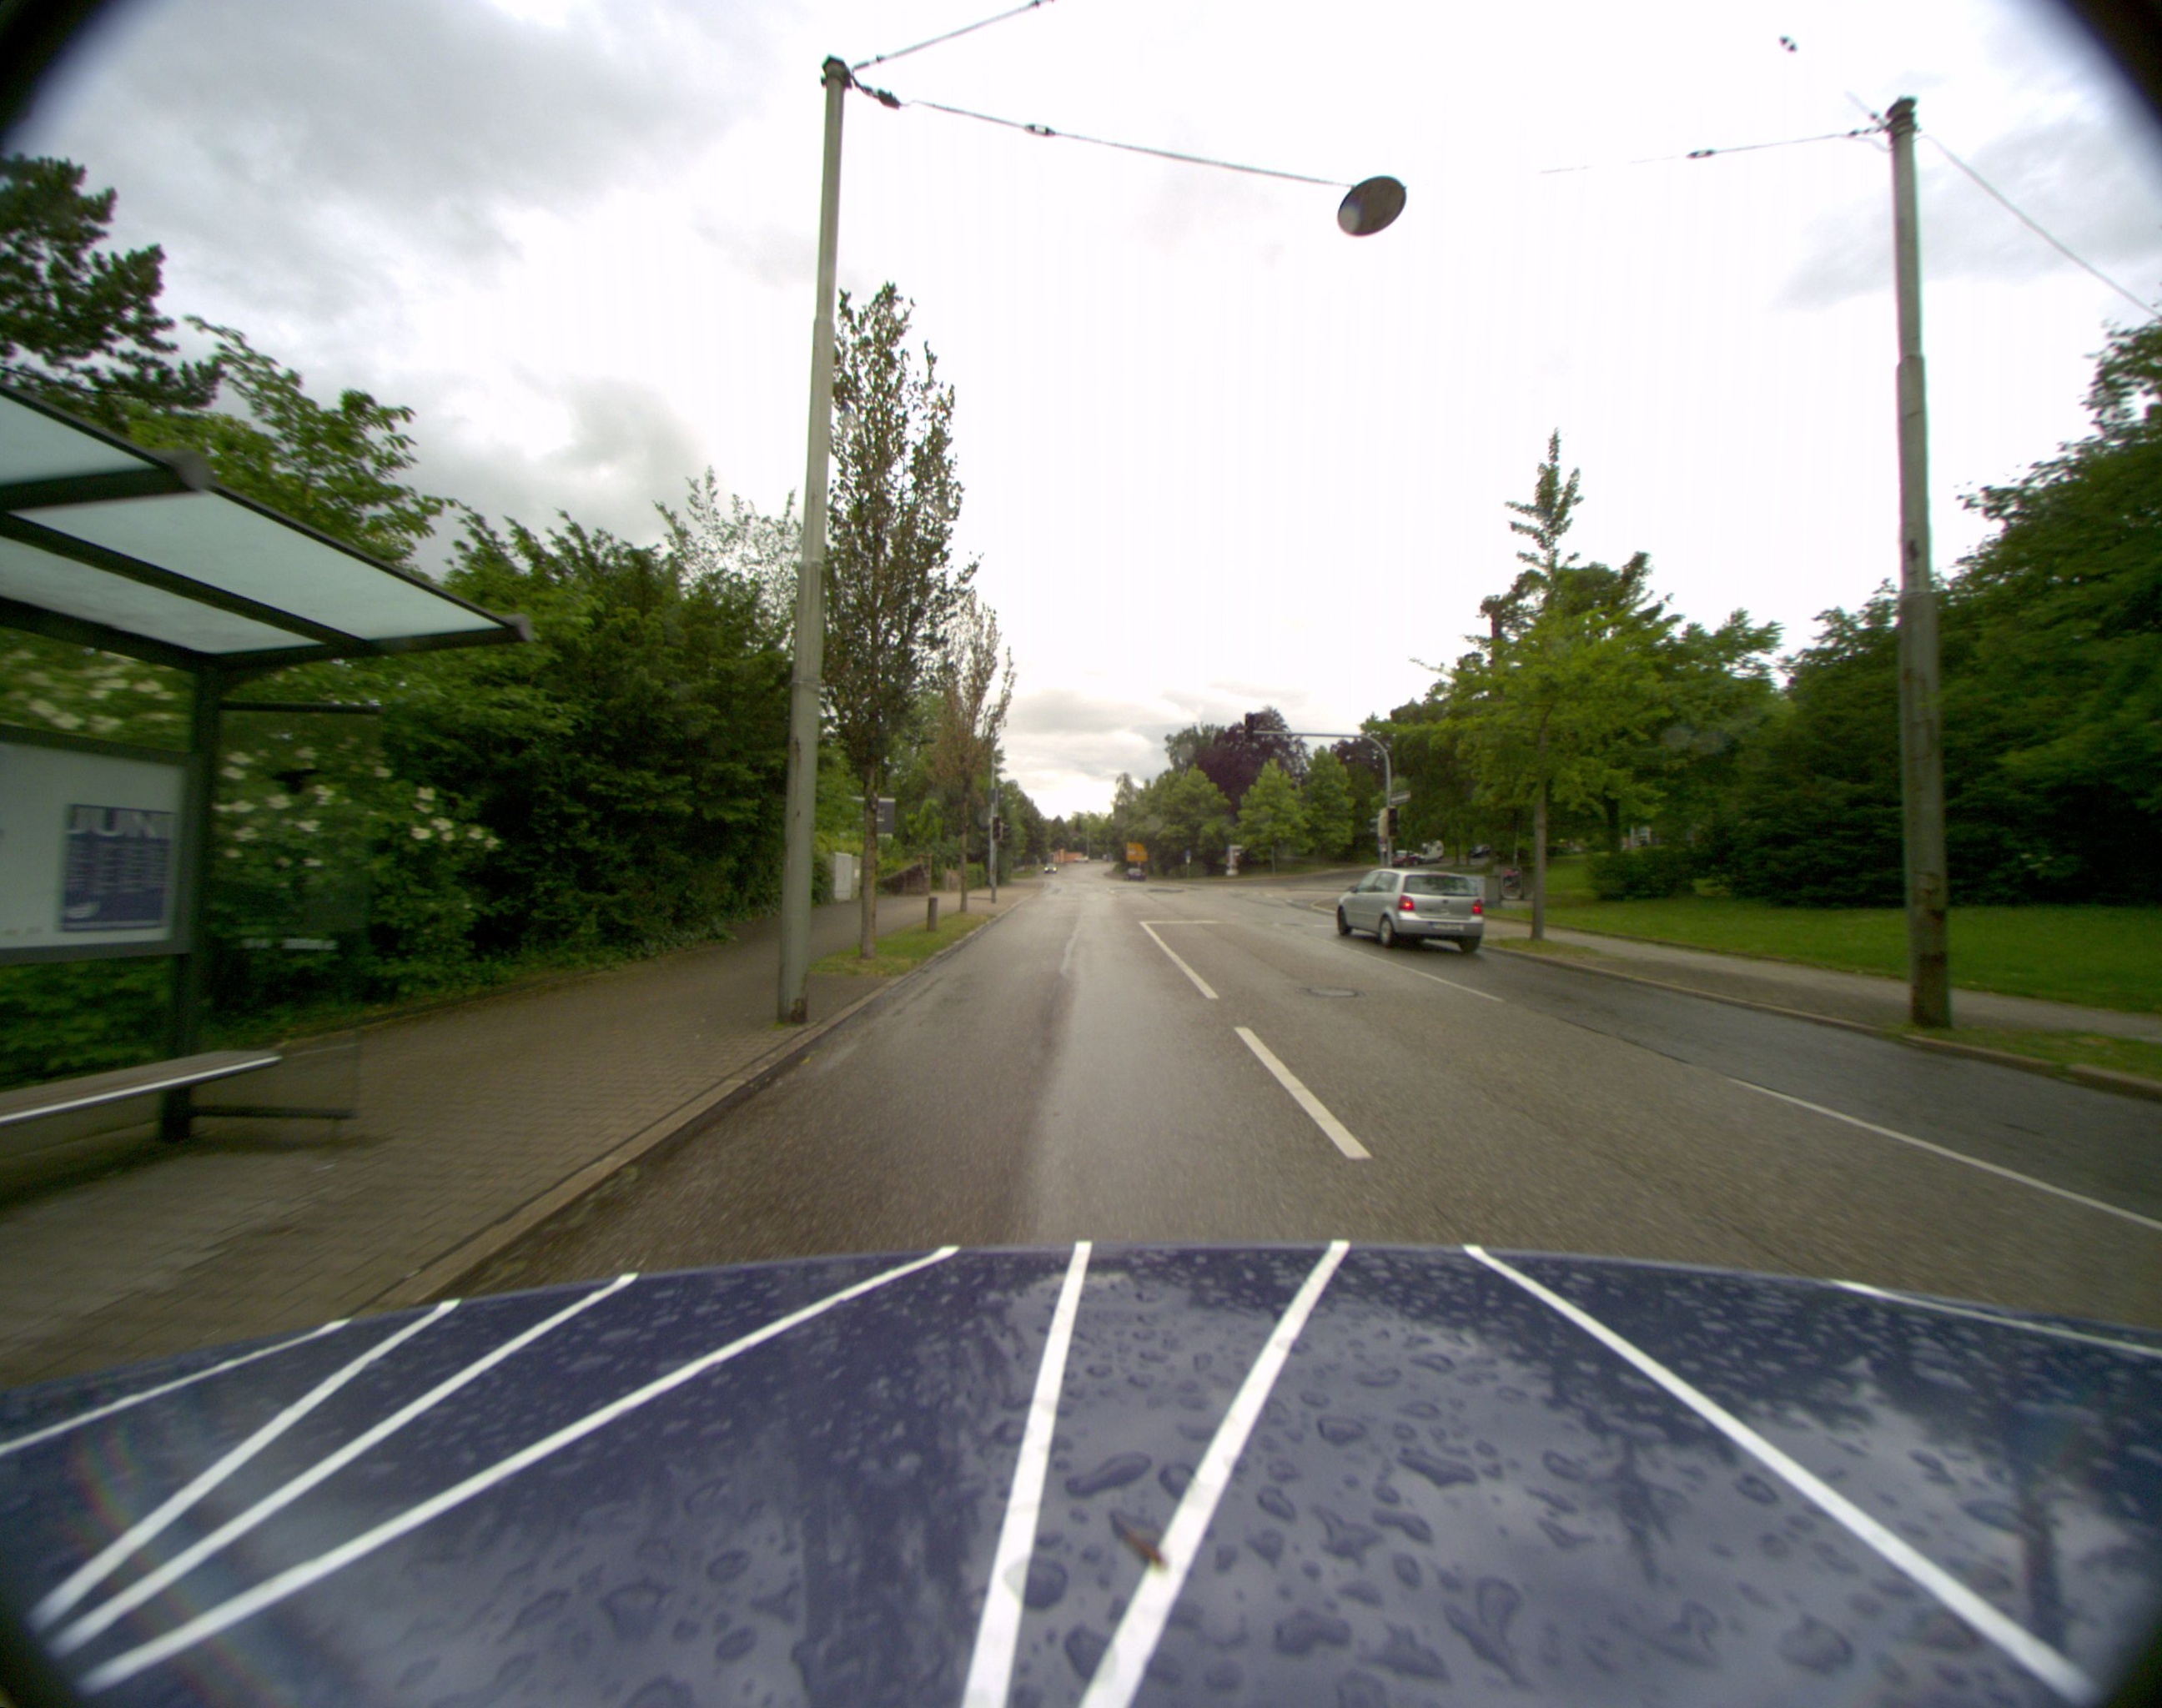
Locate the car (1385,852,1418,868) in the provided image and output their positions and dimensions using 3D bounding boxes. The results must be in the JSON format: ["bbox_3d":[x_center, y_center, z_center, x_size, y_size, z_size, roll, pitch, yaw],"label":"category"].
[{"bbox_3d":[34.317,0.630,81.287,1.972,1.658,4.009,-2,-1,44],"label":"car"}]

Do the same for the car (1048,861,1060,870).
[{"bbox_3d":[-4.562,1.976,128.058,1.862,1.406,4.386,1,-2,-1],"label":"car"}]

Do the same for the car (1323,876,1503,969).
[{"bbox_3d":[6.252,1.222,14.860,1.726,1.391,4.000,3,0,1],"label":"car"}]

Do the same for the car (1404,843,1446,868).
[{"bbox_3d":[38.589,0.130,85.109,5.682,2.683,2.152,0,-1,-42],"label":"car"}]

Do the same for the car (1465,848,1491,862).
[{"bbox_3d":[49.327,0.152,94.351,1.822,1.658,4.009,-2,-1,43],"label":"car"}]

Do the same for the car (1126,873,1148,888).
[{"bbox_3d":[5.577,2.643,75.855,1.665,1.298,4.083,2,-2,-3],"label":"car"}]

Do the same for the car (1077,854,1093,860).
[{"bbox_3d":[1.062,0.796,197.503,3.864,1.557,1.728,3,0,8],"label":"car"}]
